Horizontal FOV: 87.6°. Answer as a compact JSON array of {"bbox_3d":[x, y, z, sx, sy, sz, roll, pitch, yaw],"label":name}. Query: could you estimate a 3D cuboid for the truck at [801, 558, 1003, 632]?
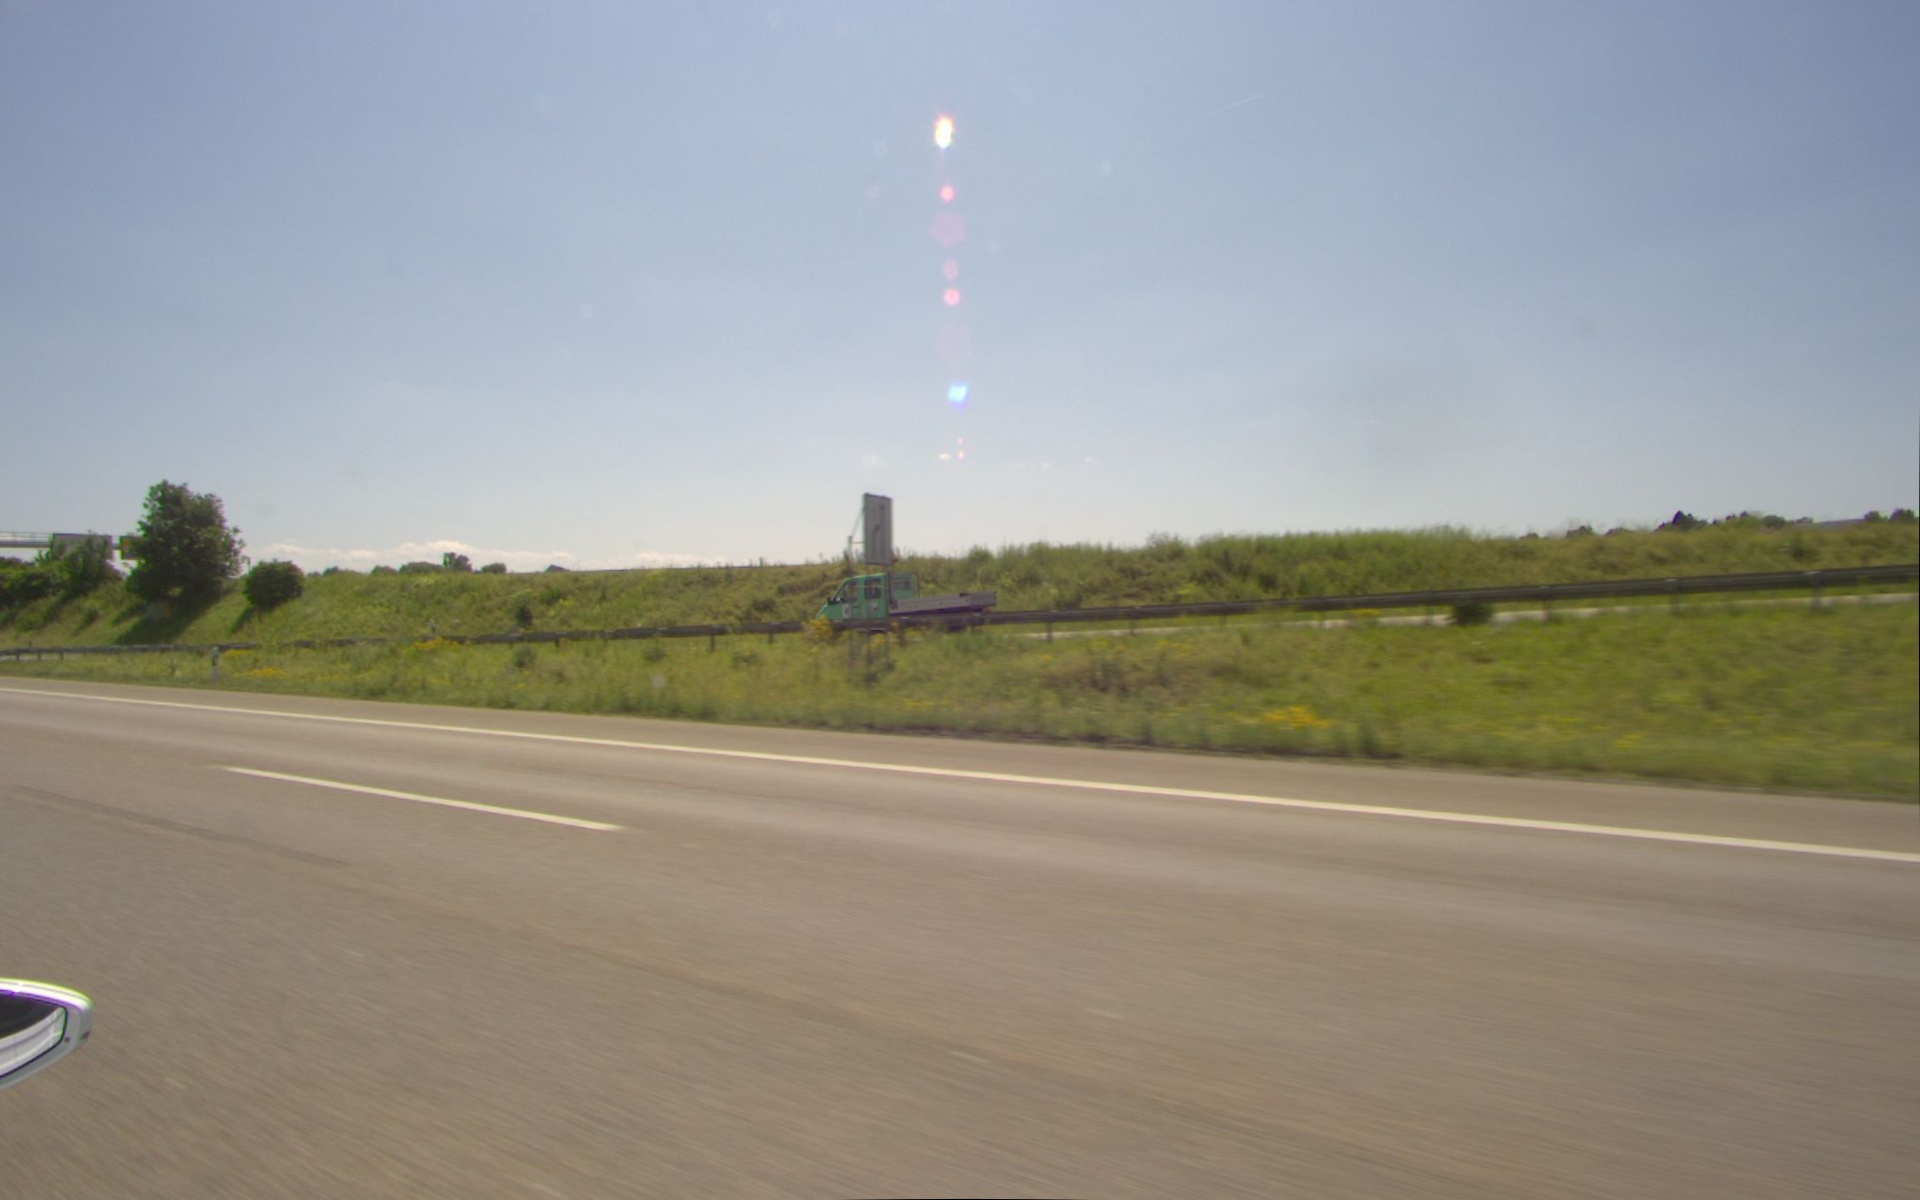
[{"bbox_3d":[-1.855,-0.082,31.190,6.021,2.119,2.164,-1,-1,27],"label":"truck"}]
